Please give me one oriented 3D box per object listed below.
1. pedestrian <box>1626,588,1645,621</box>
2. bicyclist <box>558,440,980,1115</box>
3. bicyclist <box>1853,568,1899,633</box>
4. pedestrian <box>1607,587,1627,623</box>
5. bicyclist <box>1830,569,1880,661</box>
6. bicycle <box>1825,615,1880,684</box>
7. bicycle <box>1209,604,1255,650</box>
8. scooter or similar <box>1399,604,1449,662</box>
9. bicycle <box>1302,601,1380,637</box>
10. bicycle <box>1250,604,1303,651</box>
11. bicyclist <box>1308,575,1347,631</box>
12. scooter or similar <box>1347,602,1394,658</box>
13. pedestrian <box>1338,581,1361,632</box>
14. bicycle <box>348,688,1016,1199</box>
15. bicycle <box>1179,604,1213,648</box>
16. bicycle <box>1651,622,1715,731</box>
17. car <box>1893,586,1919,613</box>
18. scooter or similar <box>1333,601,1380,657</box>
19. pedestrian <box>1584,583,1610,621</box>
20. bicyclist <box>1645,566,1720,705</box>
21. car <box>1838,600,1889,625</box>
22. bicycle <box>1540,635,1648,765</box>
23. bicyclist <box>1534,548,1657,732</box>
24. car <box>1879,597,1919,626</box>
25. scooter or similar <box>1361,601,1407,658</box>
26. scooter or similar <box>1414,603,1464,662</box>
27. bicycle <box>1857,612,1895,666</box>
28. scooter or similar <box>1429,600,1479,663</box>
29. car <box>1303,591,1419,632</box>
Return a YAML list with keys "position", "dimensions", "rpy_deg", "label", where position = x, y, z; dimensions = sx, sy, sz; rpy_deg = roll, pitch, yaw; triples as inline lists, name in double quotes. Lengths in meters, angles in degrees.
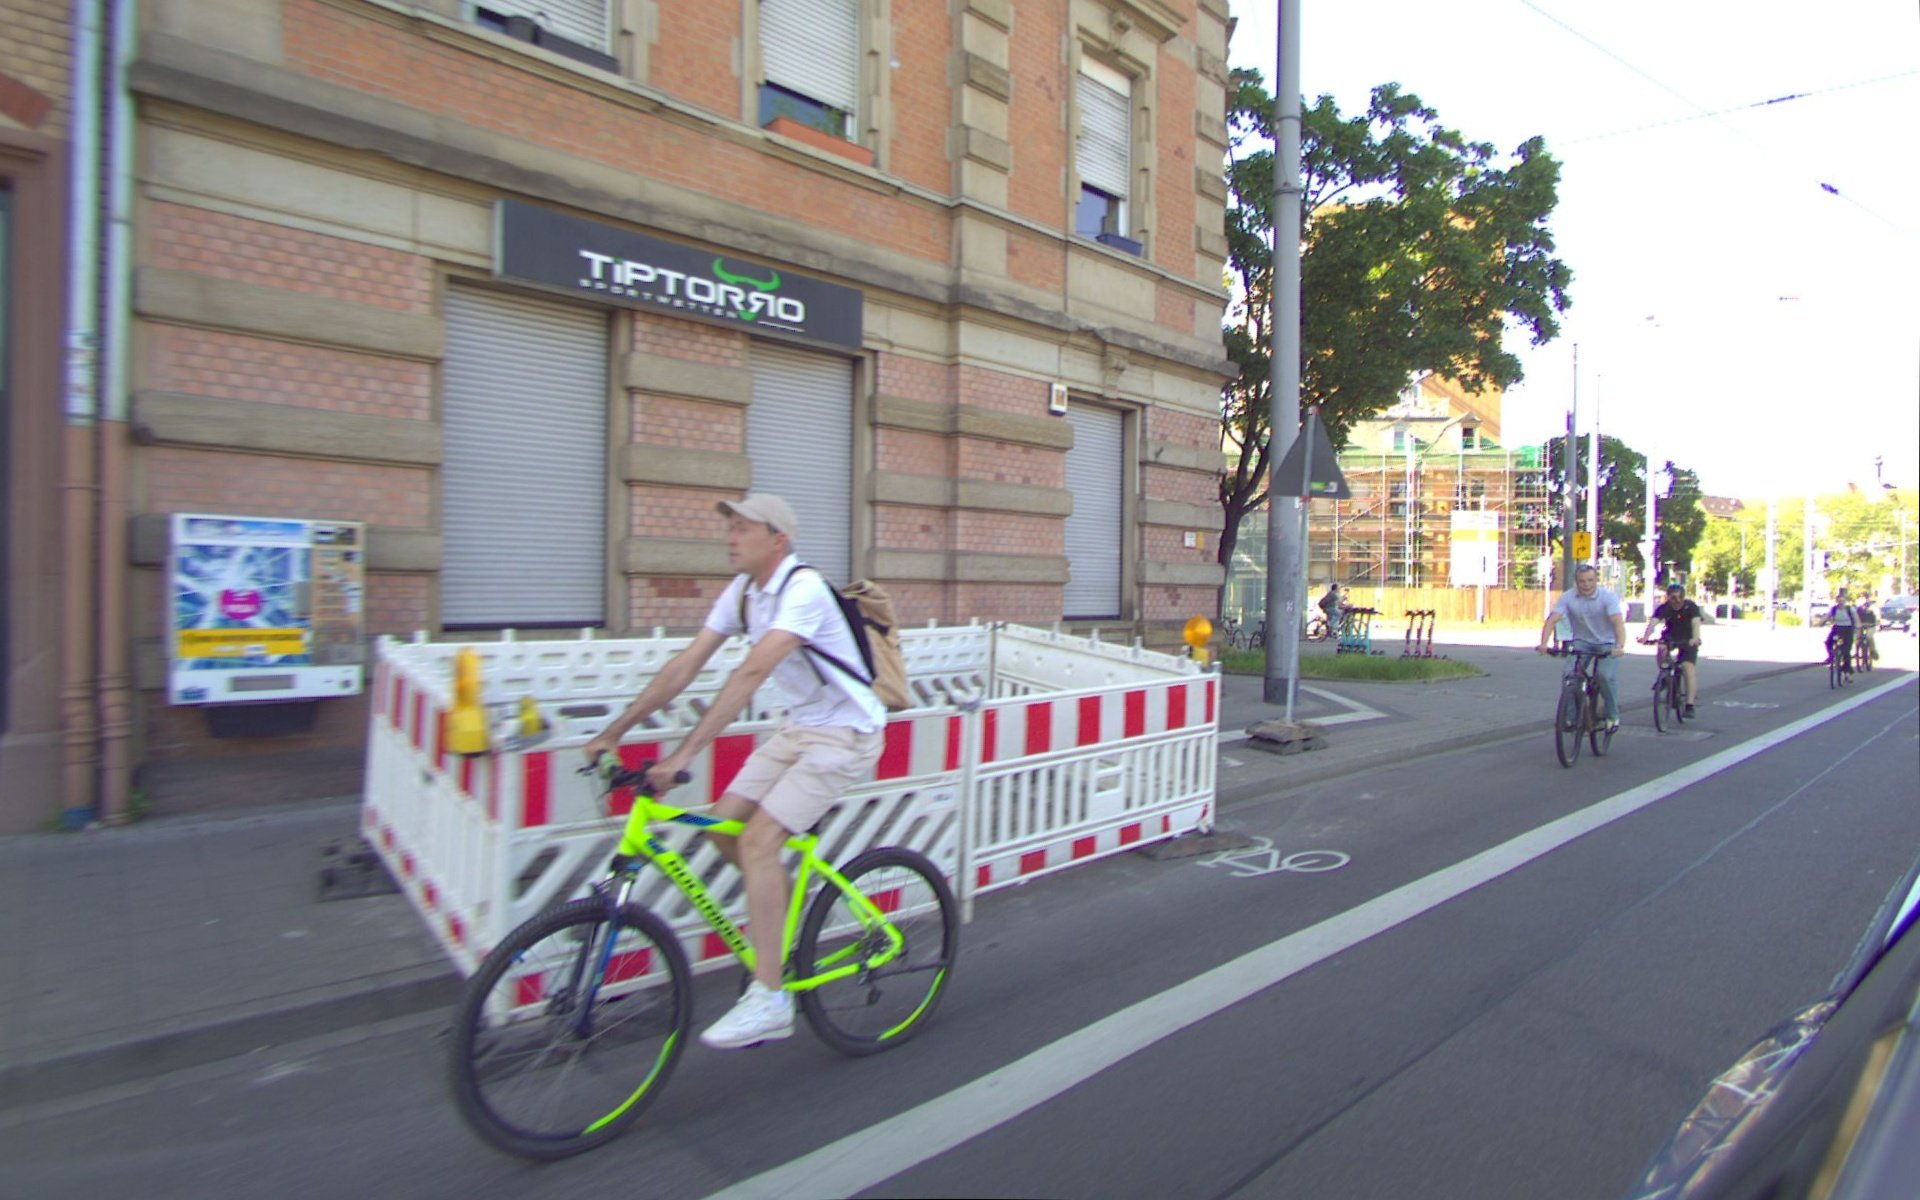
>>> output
- position: [34.543, 0.220, 51.746]
  dimensions: [0.659, 1.698, 0.810]
  rpy_deg: [-2, -1, 45]
  label: "pedestrian"
- position: [-0.596, 0.440, 3.141]
  dimensions: [1.098, 1.705, 0.683]
  rpy_deg: [-1, -1, -31]
  label: "bicyclist"
- position: [21.093, 0.010, 23.296]
  dimensions: [1.019, 1.439, 0.674]
  rpy_deg: [-1, -1, -43]
  label: "bicyclist"
- position: [33.513, 0.253, 51.633]
  dimensions: [0.659, 1.779, 0.810]
  rpy_deg: [-2, -1, 45]
  label: "pedestrian"
- position: [16.394, 0.267, 18.532]
  dimensions: [0.937, 1.634, 0.550]
  rpy_deg: [-1, -1, -42]
  label: "bicyclist"
- position: [16.100, 0.864, 18.241]
  dimensions: [1.901, 1.132, 0.532]
  rpy_deg: [-1, 0, -42]
  label: "bicycle"
- position: [6.744, 0.659, 25.072]
  dimensions: [1.328, 1.075, 0.404]
  rpy_deg: [-1, -1, -41]
  label: "bicycle"
- position: [9.831, 0.681, 21.406]
  dimensions: [1.674, 1.178, 0.270]
  rpy_deg: [-1, -1, -41]
  label: "scooter or similar"
- position: [11.571, 0.567, 30.786]
  dimensions: [2.159, 1.071, 0.487]
  rpy_deg: [0, 0, 10]
  label: "bicycle"
- position: [7.575, 0.647, 24.215]
  dimensions: [1.455, 1.075, 0.404]
  rpy_deg: [-1, -1, -36]
  label: "bicycle"
- position: [11.212, 0.098, 30.898]
  dimensions: [1.029, 1.681, 0.453]
  rpy_deg: [-1, -1, 9]
  label: "bicyclist"
- position: [9.172, 0.649, 22.600]
  dimensions: [1.537, 1.200, 0.270]
  rpy_deg: [-1, -1, -41]
  label: "scooter or similar"
- position: [14.501, 0.250, 37.674]
  dimensions: [0.639, 1.872, 0.546]
  rpy_deg: [-1, -1, 7]
  label: "pedestrian"
- position: [-0.717, 0.892, 3.077]
  dimensions: [1.899, 1.132, 0.532]
  rpy_deg: [1, -2, -39]
  label: "bicycle"
- position: [6.056, 0.657, 25.940]
  dimensions: [0.401, 1.075, 1.336]
  rpy_deg: [-1, -1, 33]
  label: "bicycle"
- position: [8.781, 0.879, 12.271]
  dimensions: [0.530, 1.131, 1.907]
  rpy_deg: [0, 1, 39]
  label: "bicycle"
- position: [97.885, -0.043, 103.299]
  dimensions: [2.220, 2.715, 5.262]
  rpy_deg: [-1, 0, 24]
  label: "car"
- position: [8.962, 0.636, 22.858]
  dimensions: [1.537, 1.211, 0.270]
  rpy_deg: [-1, -1, -41]
  label: "scooter or similar"
- position: [33.798, 0.101, 53.705]
  dimensions: [0.931, 1.954, 1.032]
  rpy_deg: [-2, -1, 45]
  label: "pedestrian"
- position: [8.879, 0.415, 12.424]
  dimensions: [0.623, 1.634, 0.966]
  rpy_deg: [-2, -1, 41]
  label: "bicyclist"
- position: [63.081, 0.850, 70.722]
  dimensions: [1.872, 1.586, 3.968]
  rpy_deg: [-2, -1, 31]
  label: "car"
- position: [5.970, 0.886, 9.490]
  dimensions: [1.901, 1.082, 0.386]
  rpy_deg: [1, -1, -44]
  label: "bicycle"
- position: [5.961, 0.347, 9.490]
  dimensions: [0.871, 1.613, 0.783]
  rpy_deg: [0, 0, -43]
  label: "bicyclist"
- position: [54.952, 0.663, 58.520]
  dimensions: [1.872, 1.586, 3.968]
  rpy_deg: [-1, 0, 31]
  label: "car"
- position: [9.385, 0.644, 22.365]
  dimensions: [1.537, 1.200, 0.270]
  rpy_deg: [-1, -1, -41]
  label: "scooter or similar"
- position: [10.045, 0.671, 21.190]
  dimensions: [1.674, 1.172, 0.270]
  rpy_deg: [-1, -1, -41]
  label: "scooter or similar"
- position: [20.982, 0.872, 23.168]
  dimensions: [1.835, 1.173, 0.532]
  rpy_deg: [0, 0, -44]
  label: "bicycle"
- position: [10.259, 0.631, 20.986]
  dimensions: [1.674, 1.235, 0.270]
  rpy_deg: [-1, -1, -41]
  label: "scooter or similar"
- position: [16.760, 0.450, 42.479]
  dimensions: [4.184, 1.641, 1.913]
  rpy_deg: [0, 1, 11]
  label: "car"
